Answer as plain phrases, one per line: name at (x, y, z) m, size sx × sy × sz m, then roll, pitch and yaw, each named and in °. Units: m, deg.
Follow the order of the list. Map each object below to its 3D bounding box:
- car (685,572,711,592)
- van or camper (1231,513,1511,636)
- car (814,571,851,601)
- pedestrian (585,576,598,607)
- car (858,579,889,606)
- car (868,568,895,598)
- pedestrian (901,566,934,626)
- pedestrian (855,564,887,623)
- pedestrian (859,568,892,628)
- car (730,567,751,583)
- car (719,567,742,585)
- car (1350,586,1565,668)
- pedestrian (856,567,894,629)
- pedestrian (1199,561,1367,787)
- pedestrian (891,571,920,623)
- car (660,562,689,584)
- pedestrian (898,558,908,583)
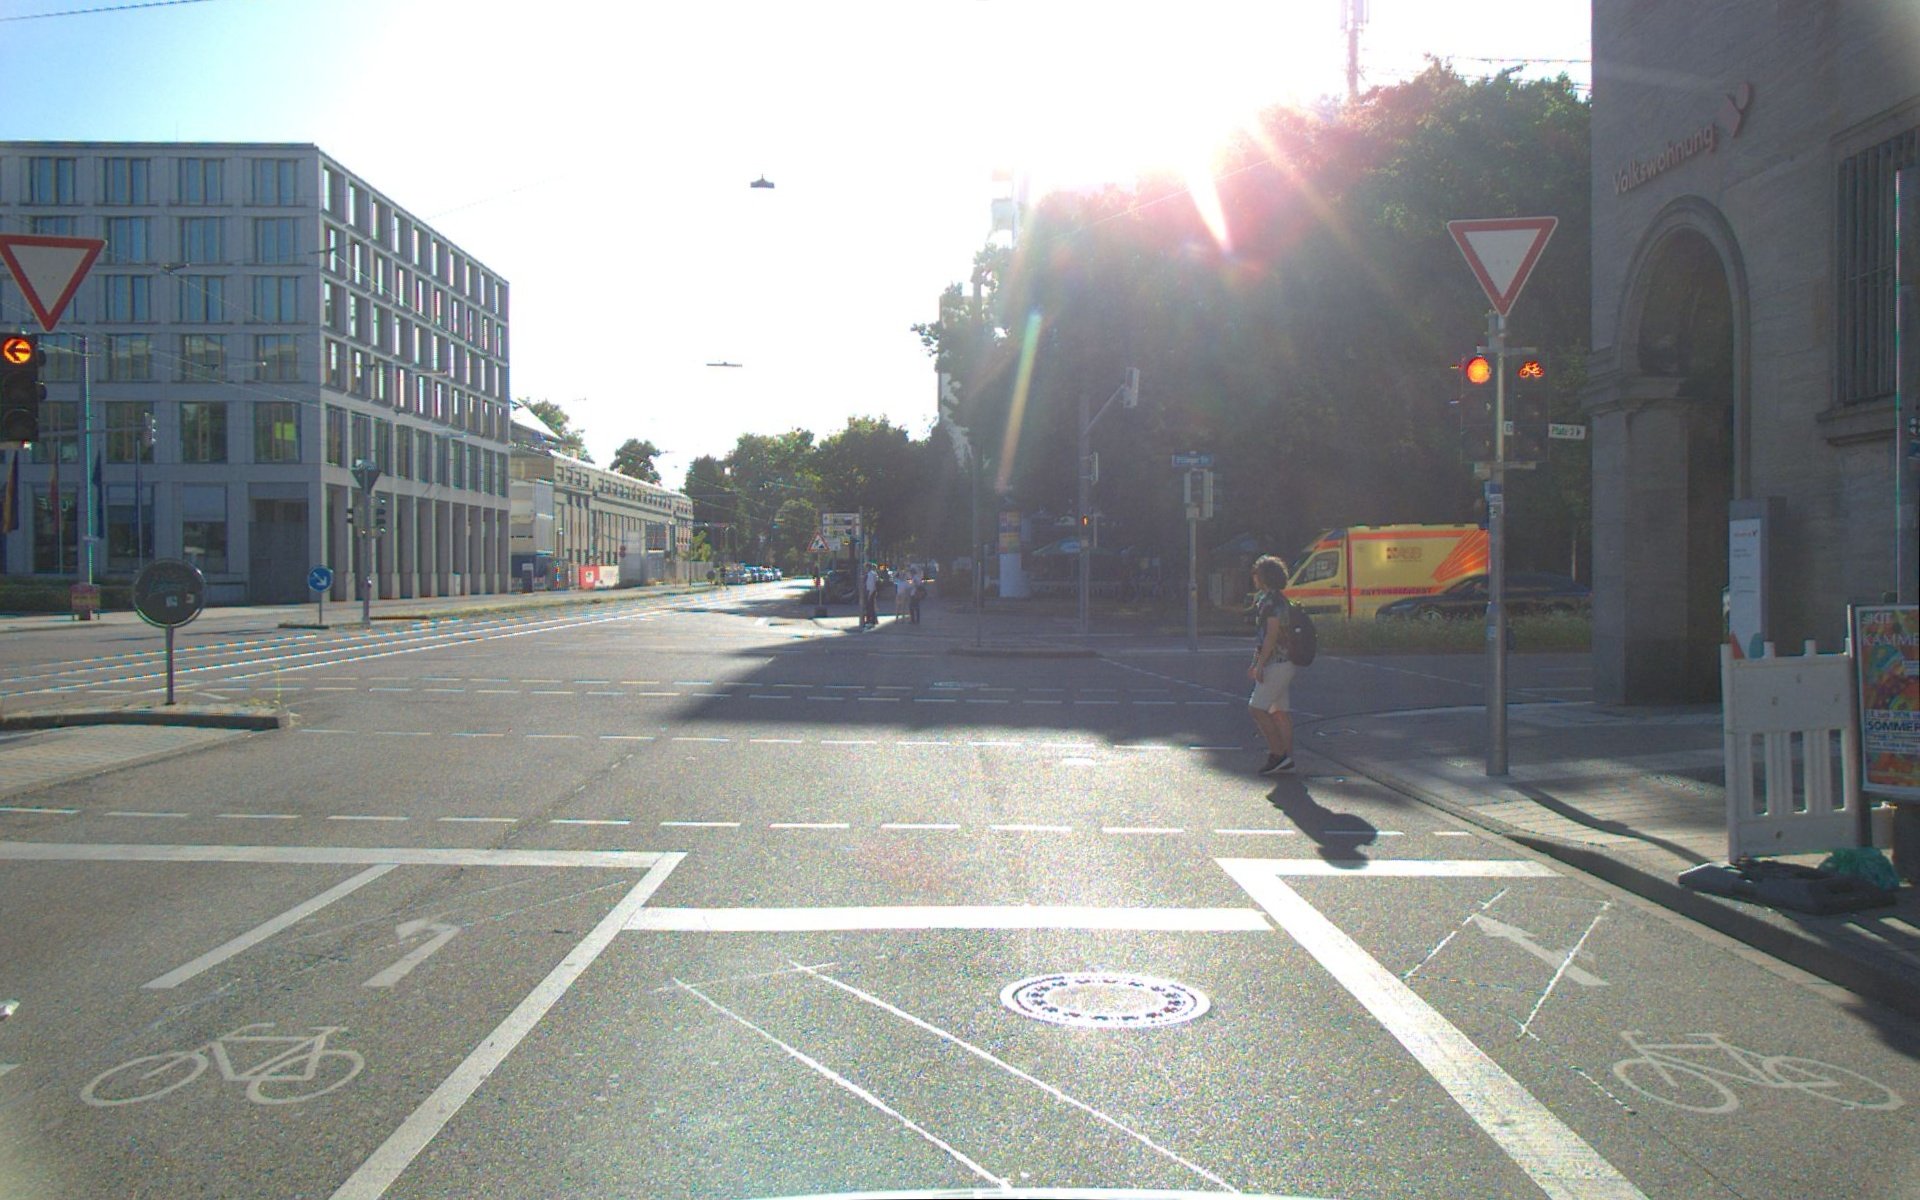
car at (-23.422, -1.607, 147.869) m, size 1.782 × 1.742 × 3.805 m, roll 0°, pitch 1°, yaw -1°
van or camper at (10.492, -0.653, 42.801) m, size 6.568 × 2.911 × 2.912 m, roll 1°, pitch 0°, yaw 3°
car at (-6.662, -0.712, 86.638) m, size 1.650 × 1.527 × 3.508 m, roll 1°, pitch 0°, yaw -1°
pedestrian at (-16.567, -0.384, 74.383) m, size 0.501 × 1.352 × 0.369 m, roll 0°, pitch 0°, yaw 1°
car at (-5.011, -0.421, 95.917) m, size 1.650 × 1.527 × 3.508 m, roll 1°, pitch 0°, yaw -1°
car at (-5.269, -1.136, 111.528) m, size 1.650 × 1.996 × 3.508 m, roll 1°, pitch 0°, yaw -1°
pedestrian at (-1.292, -0.133, 50.248) m, size 0.834 × 1.815 × 0.776 m, roll -1°, pitch 1°, yaw -17°
pedestrian at (-2.780, -0.217, 51.492) m, size 0.834 × 1.815 × 0.776 m, roll -1°, pitch 1°, yaw -17°
pedestrian at (-2.582, -0.069, 50.646) m, size 0.834 × 1.815 × 0.776 m, roll -1°, pitch 1°, yaw -17°
car at (-21.723, -2.444, 163.768) m, size 1.577 × 1.524 × 3.805 m, roll 0°, pitch 1°, yaw -1°
car at (-22.146, -2.307, 159.842) m, size 1.782 × 1.742 × 3.805 m, roll 0°, pitch 1°, yaw -1°
car at (11.096, 0.590, 37.101) m, size 4.226 × 1.676 × 1.888 m, roll 1°, pitch 0°, yaw -1°
pedestrian at (-2.522, -0.077, 48.972) m, size 0.950 × 1.815 × 0.776 m, roll -1°, pitch 1°, yaw -17°
pedestrian at (2.616, 0.565, 13.484) m, size 1.021 × 1.751 × 1.032 m, roll -1°, pitch 1°, yaw -12°
pedestrian at (-1.685, -0.086, 50.888) m, size 0.750 × 1.586 × 0.585 m, roll -1°, pitch 1°, yaw -17°
car at (-23.614, -2.231, 137.086) m, size 1.782 × 1.742 × 3.805 m, roll 0°, pitch 1°, yaw -1°
pedestrian at (-8.547, -4.408, 249.669) m, size 1.373 × 3.659 × 1.567 m, roll 1°, pitch 0°, yaw -1°
